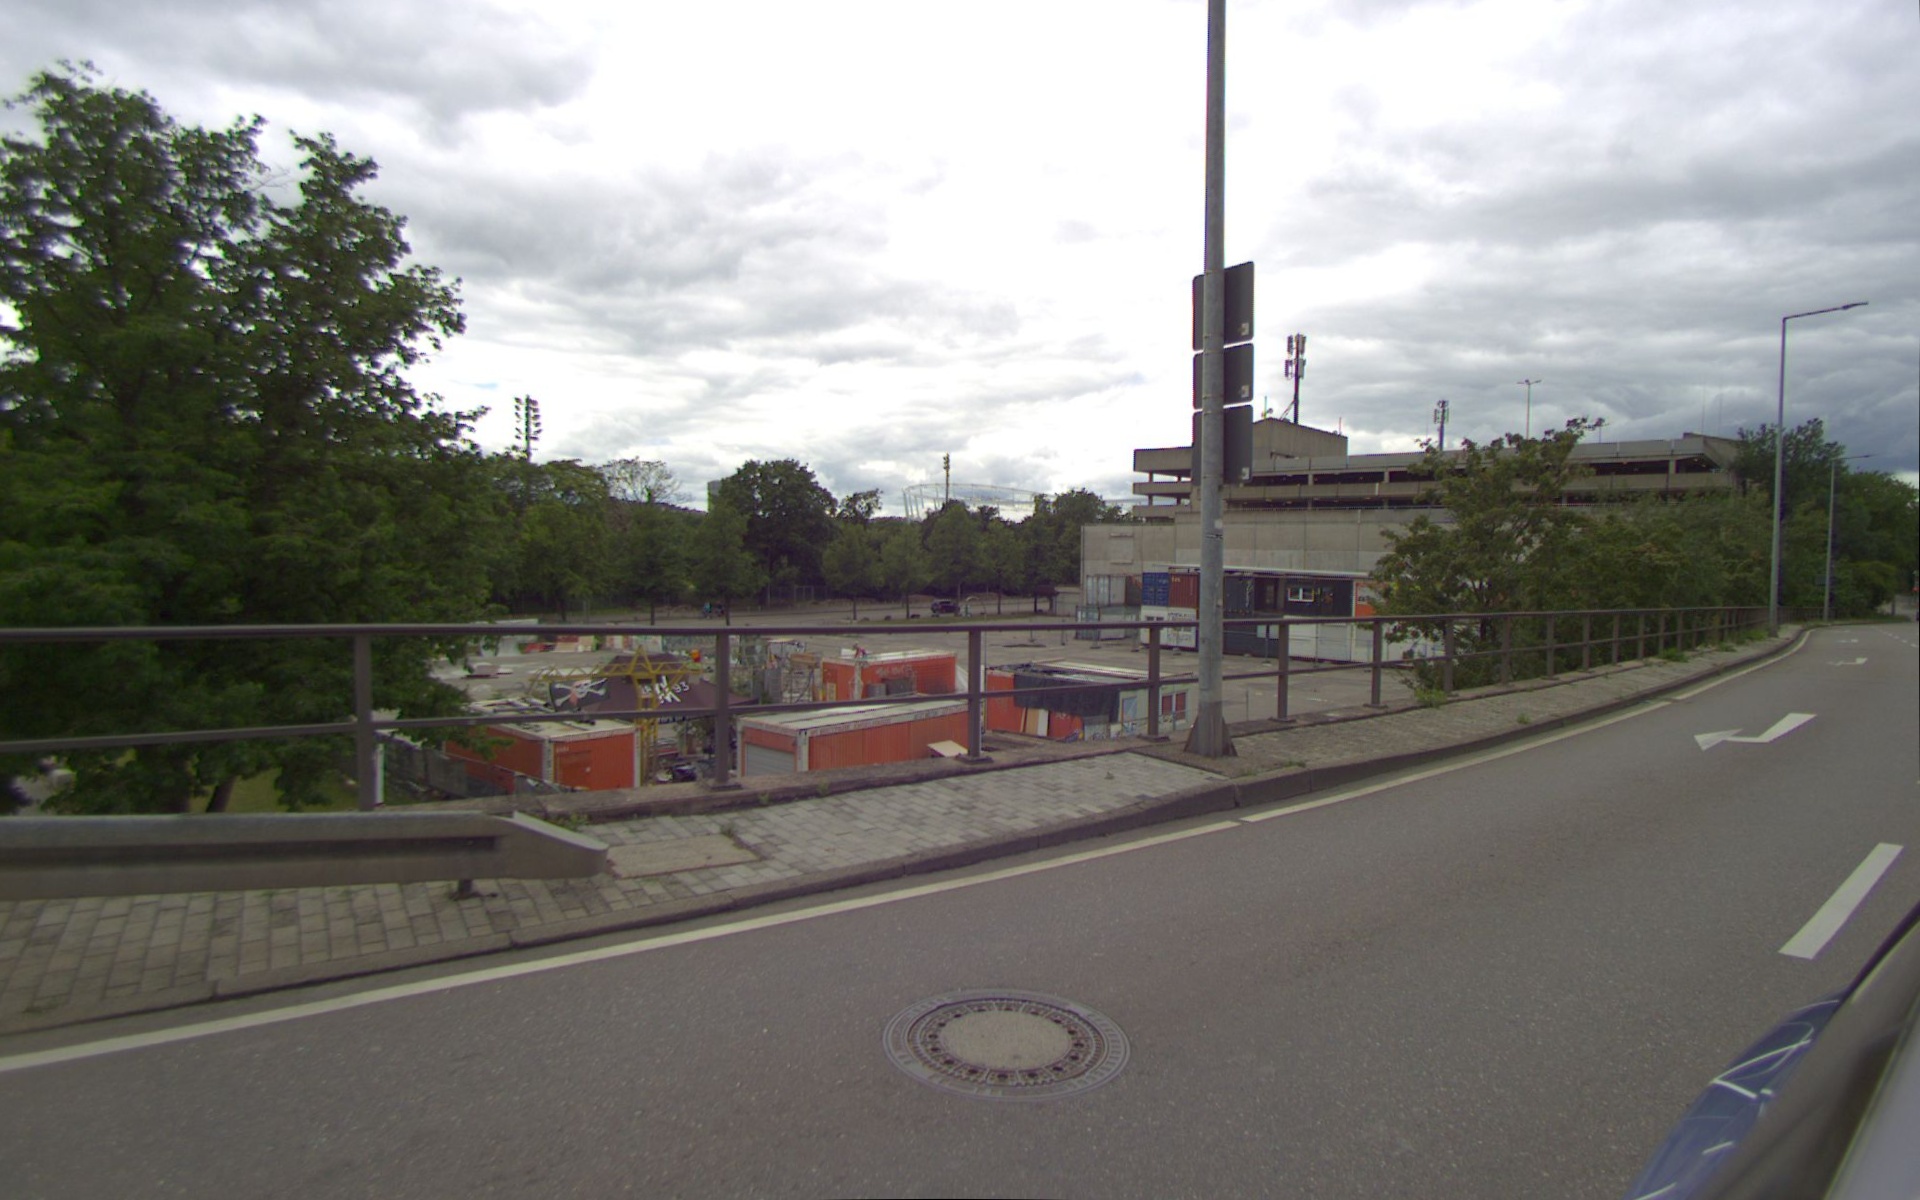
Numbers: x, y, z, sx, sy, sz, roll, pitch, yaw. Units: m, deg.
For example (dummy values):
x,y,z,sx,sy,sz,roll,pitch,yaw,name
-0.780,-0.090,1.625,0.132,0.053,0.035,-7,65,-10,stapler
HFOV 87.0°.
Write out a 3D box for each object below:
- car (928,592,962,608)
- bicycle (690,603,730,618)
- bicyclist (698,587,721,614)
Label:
x,y,z,sx,sy,sz,roll,pitch,yaw,name
-1.811,-0.007,124.770,1.991,1.839,3.940,-3,-1,42,car
-25.752,1.061,104.383,1.490,1.304,4.286,1,2,29,bicycle
-25.802,0.033,104.216,1.490,2.737,1.853,1,2,30,bicyclist
